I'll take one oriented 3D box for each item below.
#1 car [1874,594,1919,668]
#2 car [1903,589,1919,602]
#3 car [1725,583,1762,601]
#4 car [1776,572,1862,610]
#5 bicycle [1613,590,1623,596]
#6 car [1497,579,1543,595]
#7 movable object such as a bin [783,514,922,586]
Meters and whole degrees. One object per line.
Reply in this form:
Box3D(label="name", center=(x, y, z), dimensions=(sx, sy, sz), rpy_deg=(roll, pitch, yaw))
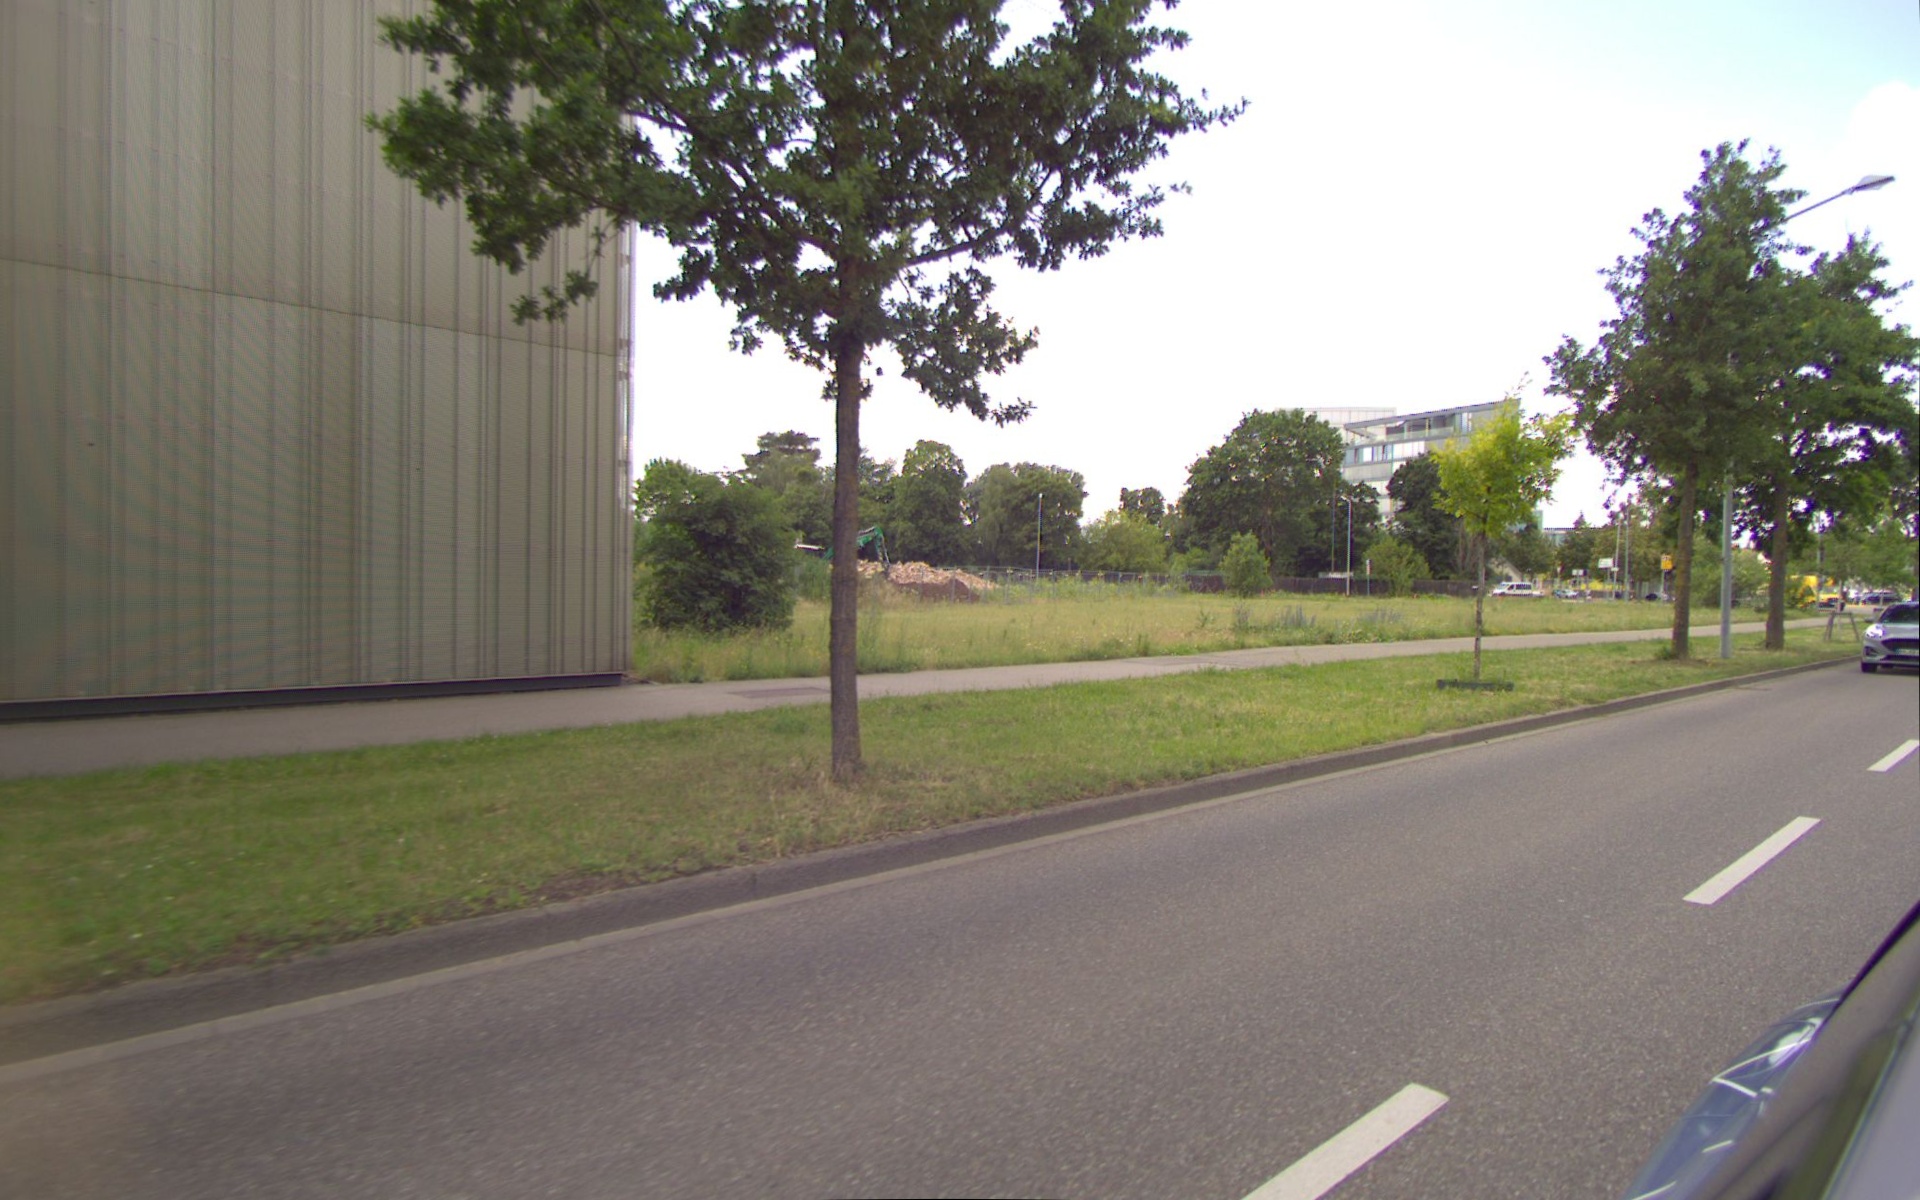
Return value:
Box3D(label="car", center=(21.122, 0.643, 21.658), dimensions=(4.017, 1.489, 1.674), rpy_deg=(0, 1, -38))
Box3D(label="car", center=(104.703, -0.429, 108.938), dimensions=(4.237, 1.346, 1.997), rpy_deg=(1, 1, 6))
Box3D(label="car", center=(80.117, -0.826, 103.578), dimensions=(1.981, 1.695, 5.024), rpy_deg=(2, 2, 26))
Box3D(label="car", center=(71.762, -0.836, 84.759), dimensions=(2.251, 2.888, 7.228), rpy_deg=(-3, 1, 13))
Box3D(label="bicycle", center=(87.184, -0.895, 134.049), dimensions=(0.352, 0.836, 1.473), rpy_deg=(1, 1, 2))
Box3D(label="car", center=(73.596, -1.711, 132.977), dimensions=(5.044, 2.174, 2.153), rpy_deg=(0, 1, -11))
Box3D(label="movable object such as a bin", center=(-6.087, -2.822, 58.141), dimensions=(7.478, 3.900, 3.047), rpy_deg=(-1, 1, 3))
